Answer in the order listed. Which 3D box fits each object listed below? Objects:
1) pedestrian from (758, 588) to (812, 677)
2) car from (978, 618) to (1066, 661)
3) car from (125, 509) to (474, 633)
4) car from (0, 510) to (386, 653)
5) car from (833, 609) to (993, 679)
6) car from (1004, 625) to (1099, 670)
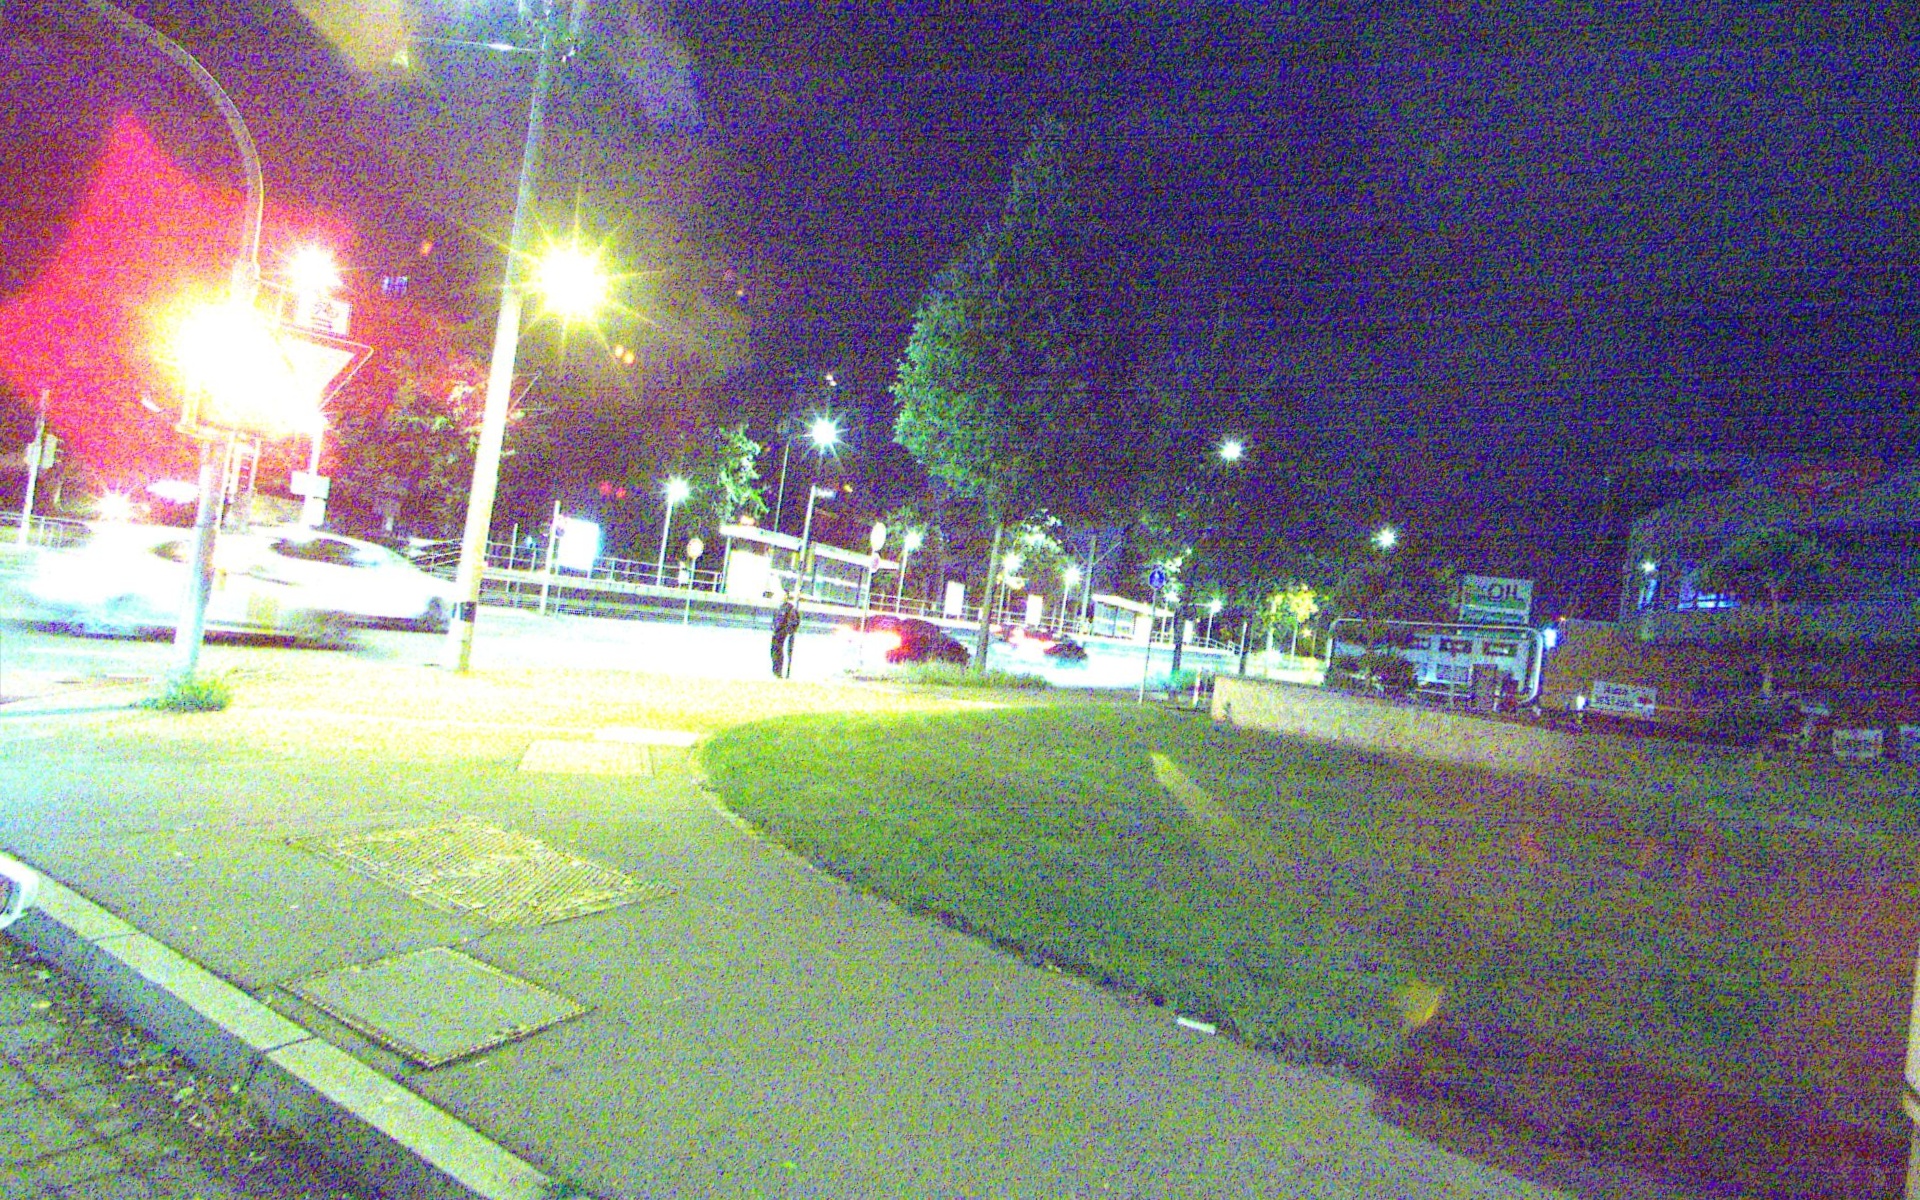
[{"bbox_3d":[-3.406,0.622,19.576,0.867,1.677,0.835,3,1,-18],"label":"pedestrian"},{"bbox_3d":[2.894,1.841,46.145,1.719,1.437,4.248,9,0,39],"label":"car"},{"bbox_3d":[-11.715,-0.433,18.245,1.717,1.618,4.923,8,0,35],"label":"car"},{"bbox_3d":[-10.593,-0.178,14.163,1.717,1.454,3.905,8,-1,35],"label":"car"},{"bbox_3d":[-1.192,1.285,28.122,1.717,1.491,4.925,8,-1,35],"label":"car"},{"bbox_3d":[3.853,1.982,41.692,1.717,1.438,4.573,10,2,35],"label":"car"}]
